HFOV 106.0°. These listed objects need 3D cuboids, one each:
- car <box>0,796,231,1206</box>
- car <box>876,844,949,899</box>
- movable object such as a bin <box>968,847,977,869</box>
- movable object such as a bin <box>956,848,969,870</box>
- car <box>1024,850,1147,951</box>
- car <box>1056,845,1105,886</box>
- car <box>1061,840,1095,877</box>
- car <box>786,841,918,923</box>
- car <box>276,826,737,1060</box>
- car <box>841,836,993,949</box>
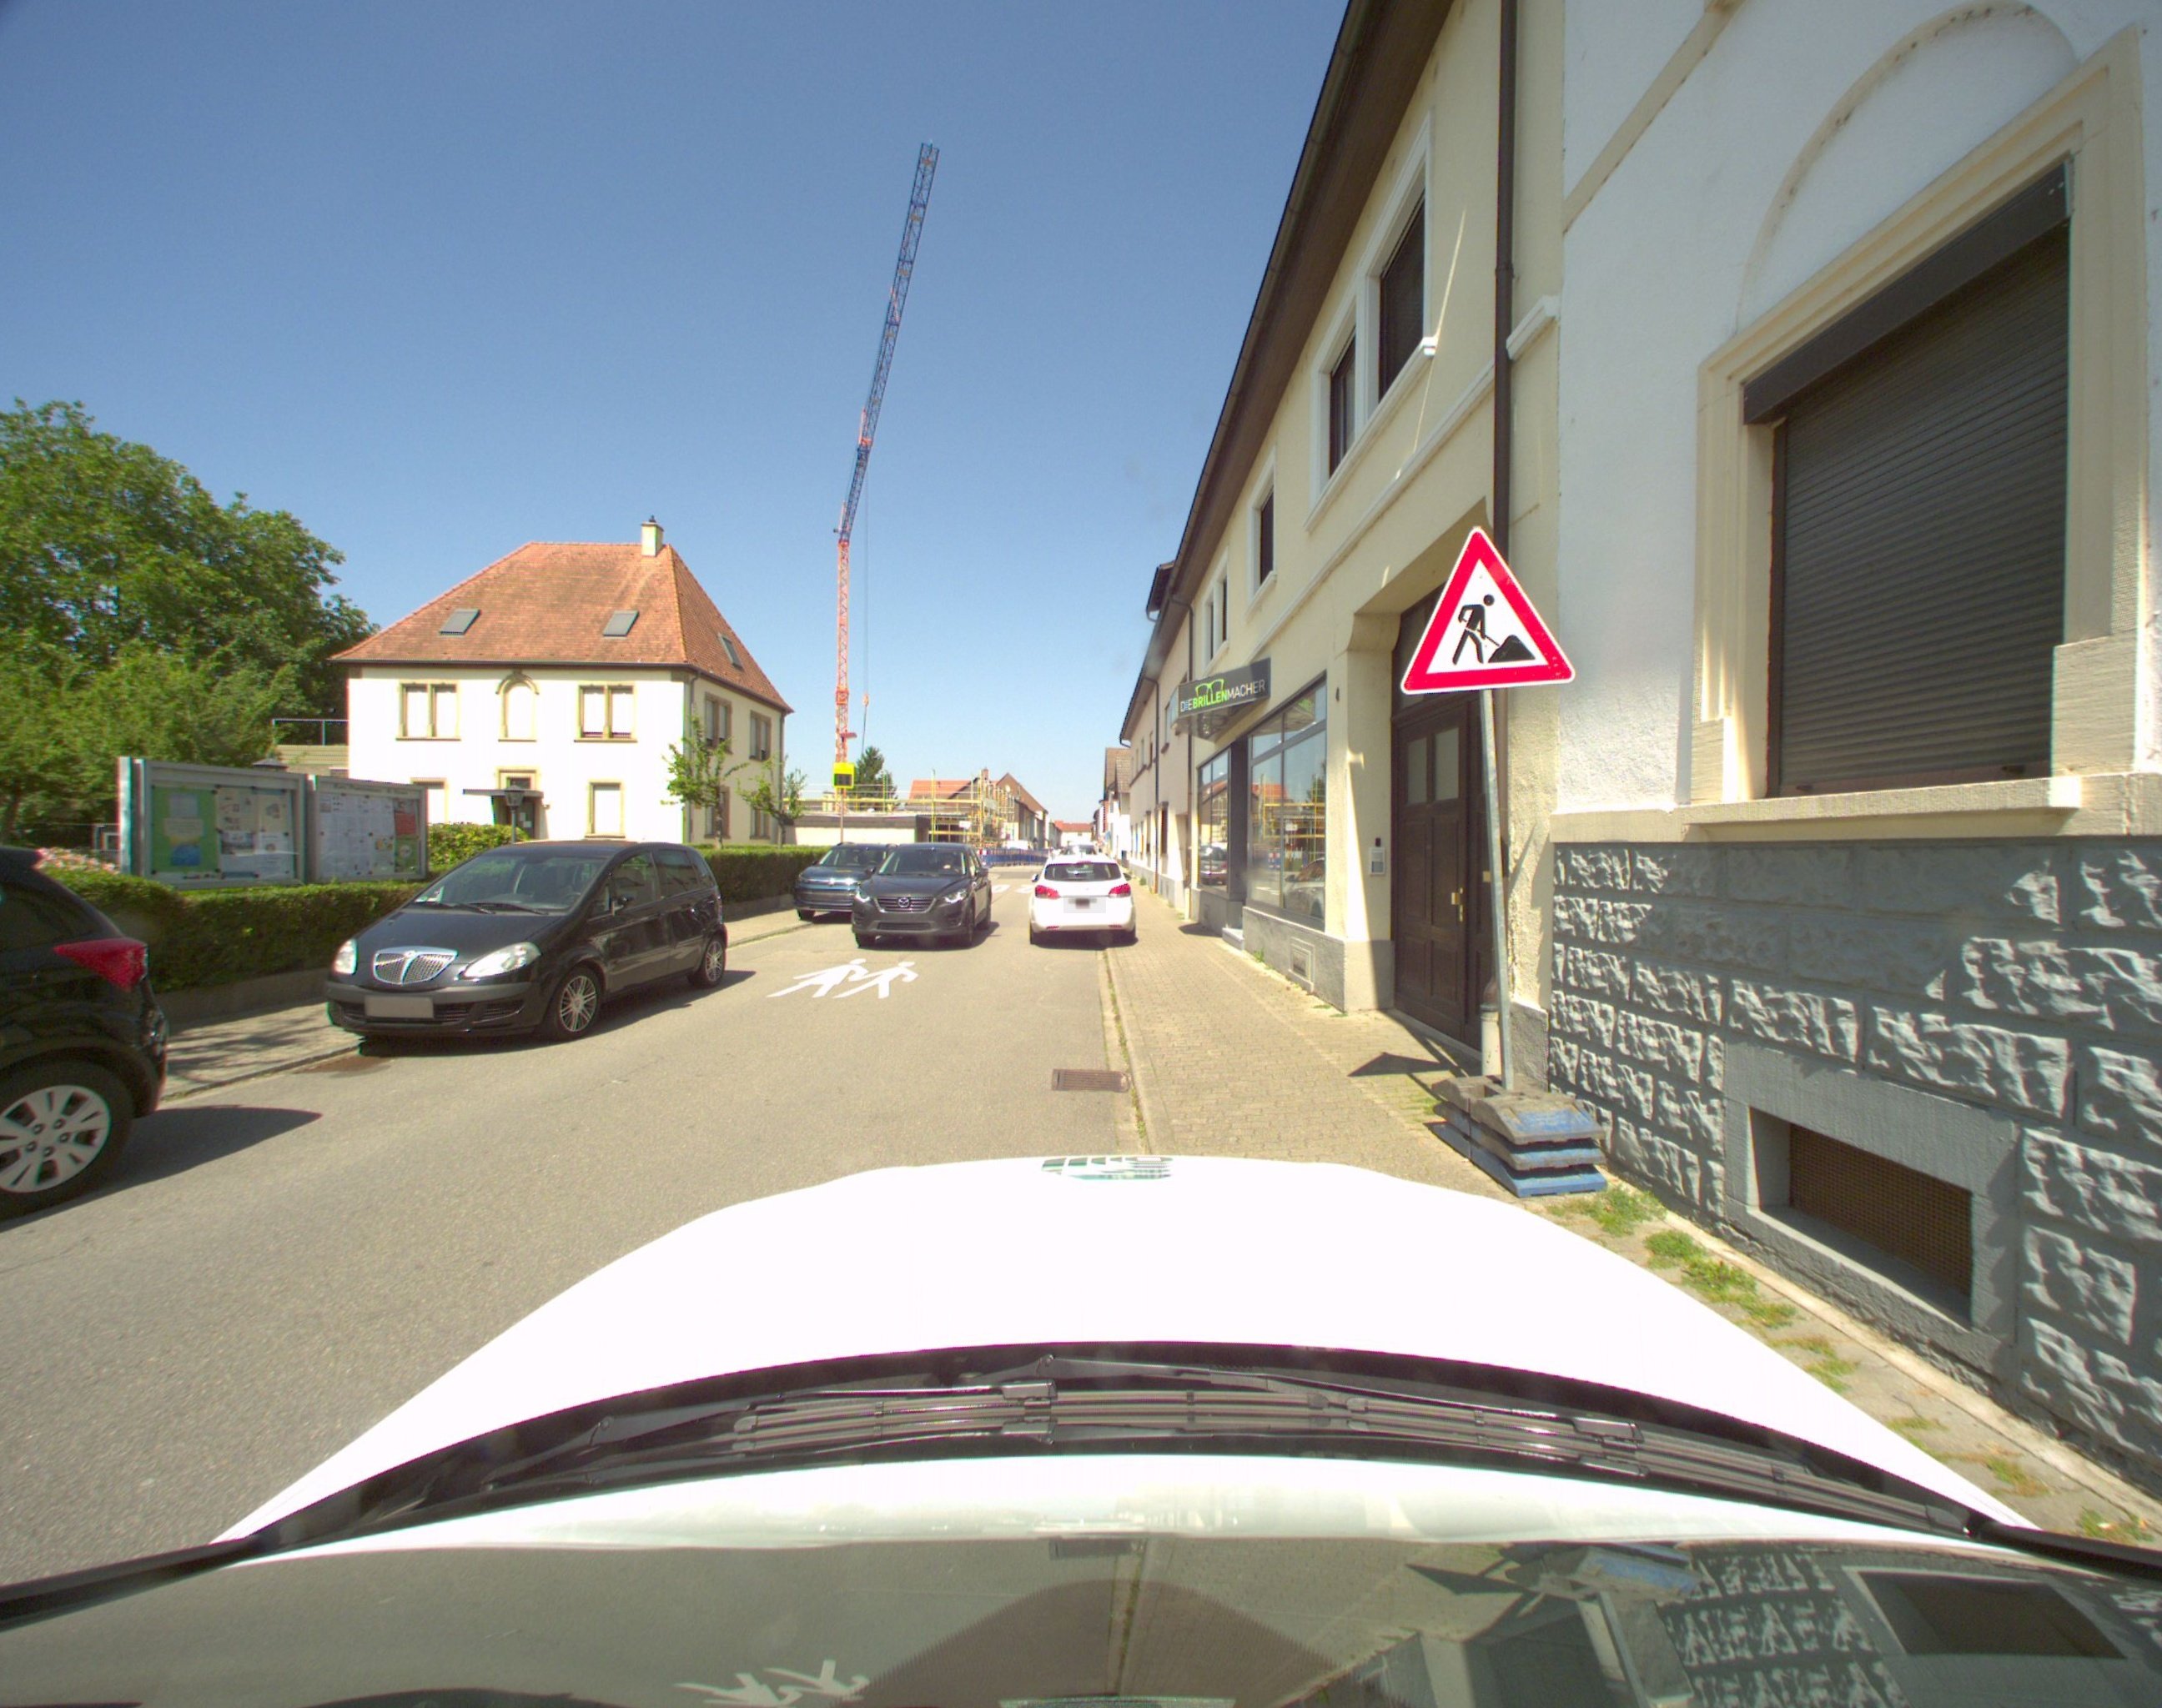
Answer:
[{"bbox_3d":[-5.158,0.573,2.010,1.809,1.605,4.026,1,0,1],"label":"car"},{"bbox_3d":[-4.858,0.466,23.895,1.432,1.474,3.784,0,0,-1],"label":"car"},{"bbox_3d":[-5.823,0.226,43.602,0.431,1.155,0.363,1,0,-10],"label":"movable object such as a bin"},{"bbox_3d":[-6.281,0.262,43.116,0.621,1.155,0.676,1,0,-7],"label":"movable object such as a bin"},{"bbox_3d":[-0.028,0.720,14.739,1.882,1.542,4.238,1,0,-3],"label":"car"},{"bbox_3d":[-0.078,0.447,34.668,1.880,1.556,3.891,-3,1,-3],"label":"car"},{"bbox_3d":[-0.155,0.176,39.846,1.559,1.612,3.543,1,3,0],"label":"car"},{"bbox_3d":[-5.016,0.548,18.465,1.821,1.630,4.215,1,0,-1],"label":"car"},{"bbox_3d":[-4.820,0.605,7.598,1.632,1.628,3.767,1,1,-1],"label":"car"},{"bbox_3d":[-2.665,0.569,14.232,1.876,1.668,4.151,1,0,-1],"label":"car"}]
